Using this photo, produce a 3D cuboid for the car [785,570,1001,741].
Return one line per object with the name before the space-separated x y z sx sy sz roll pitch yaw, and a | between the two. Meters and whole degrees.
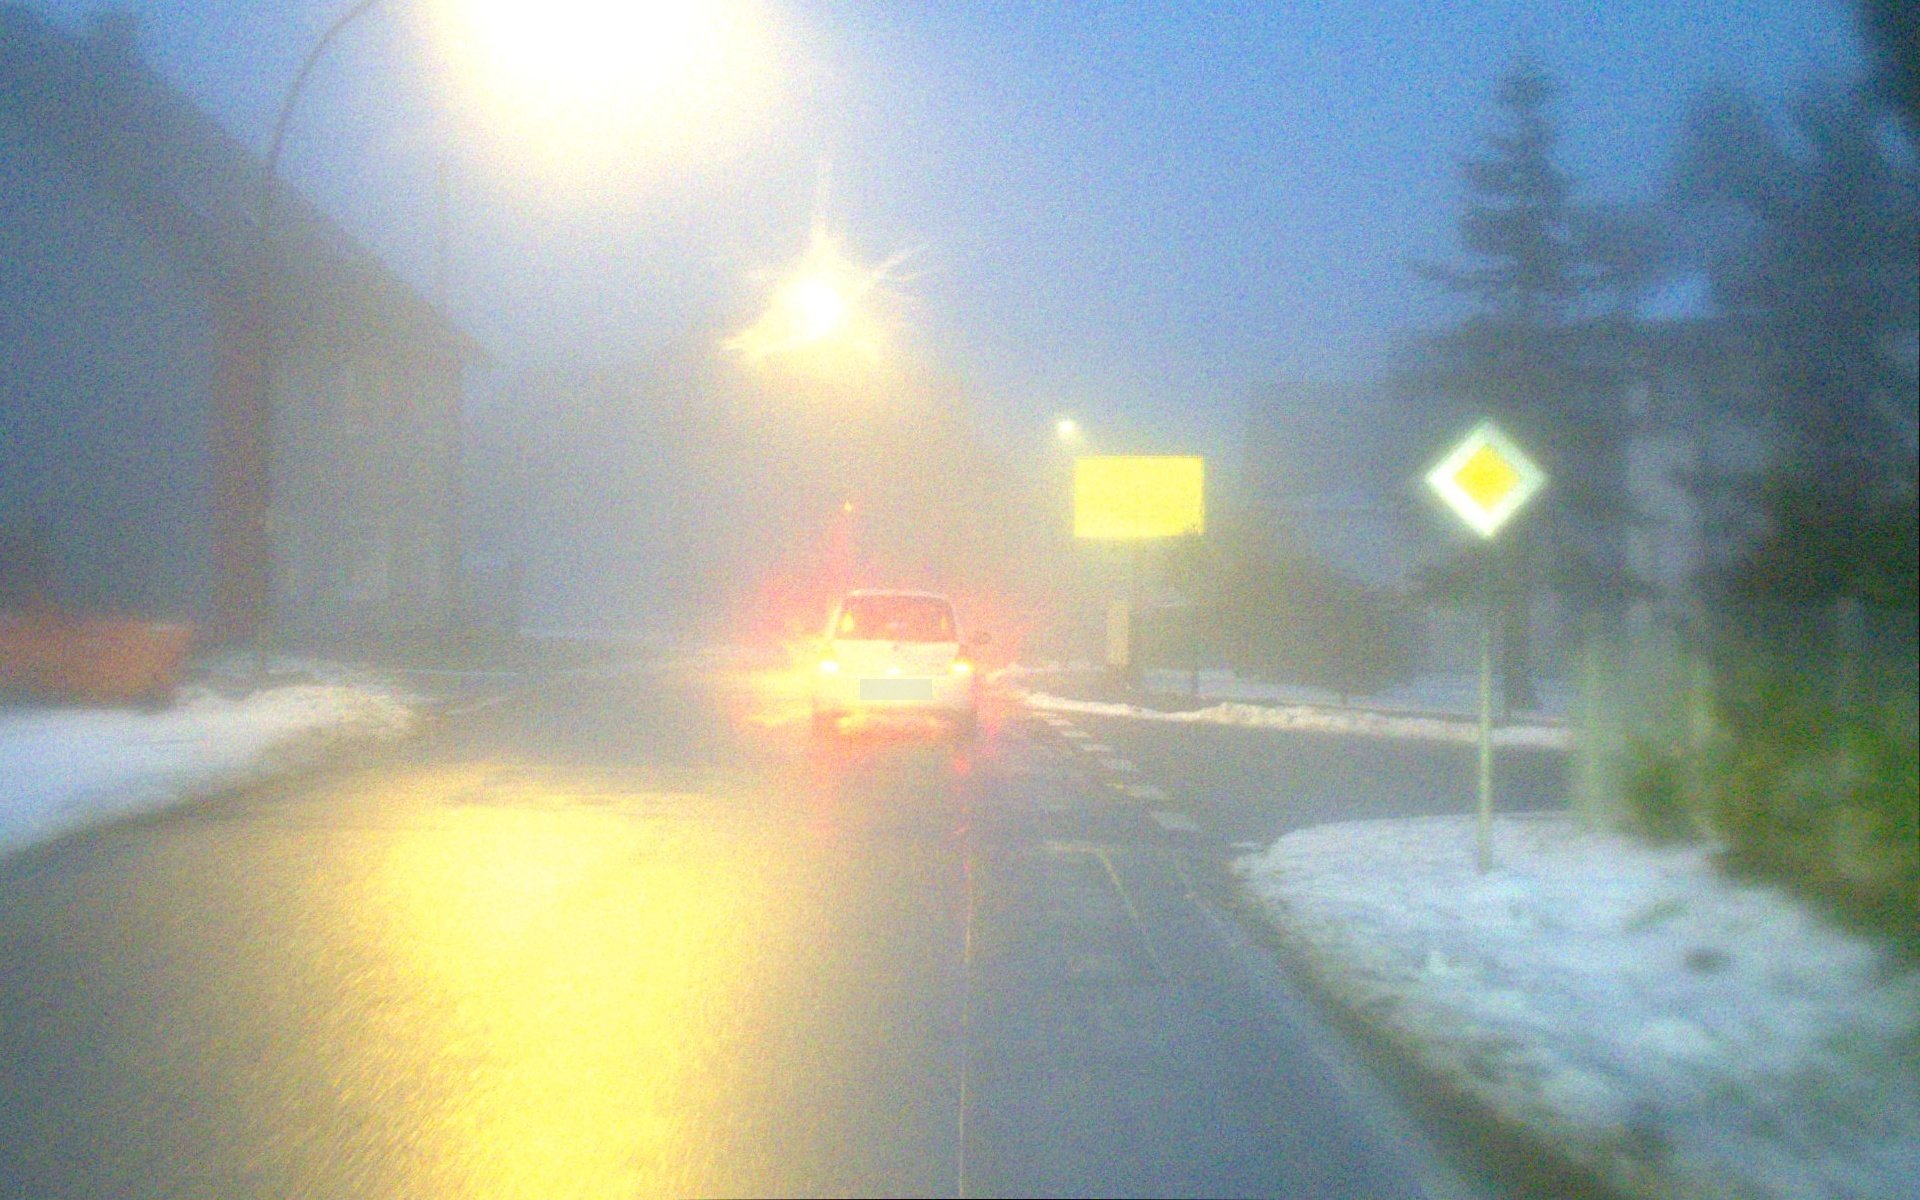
car | -0.614 0.506 34.356 1.993 1.503 4.000 -2 1 1
